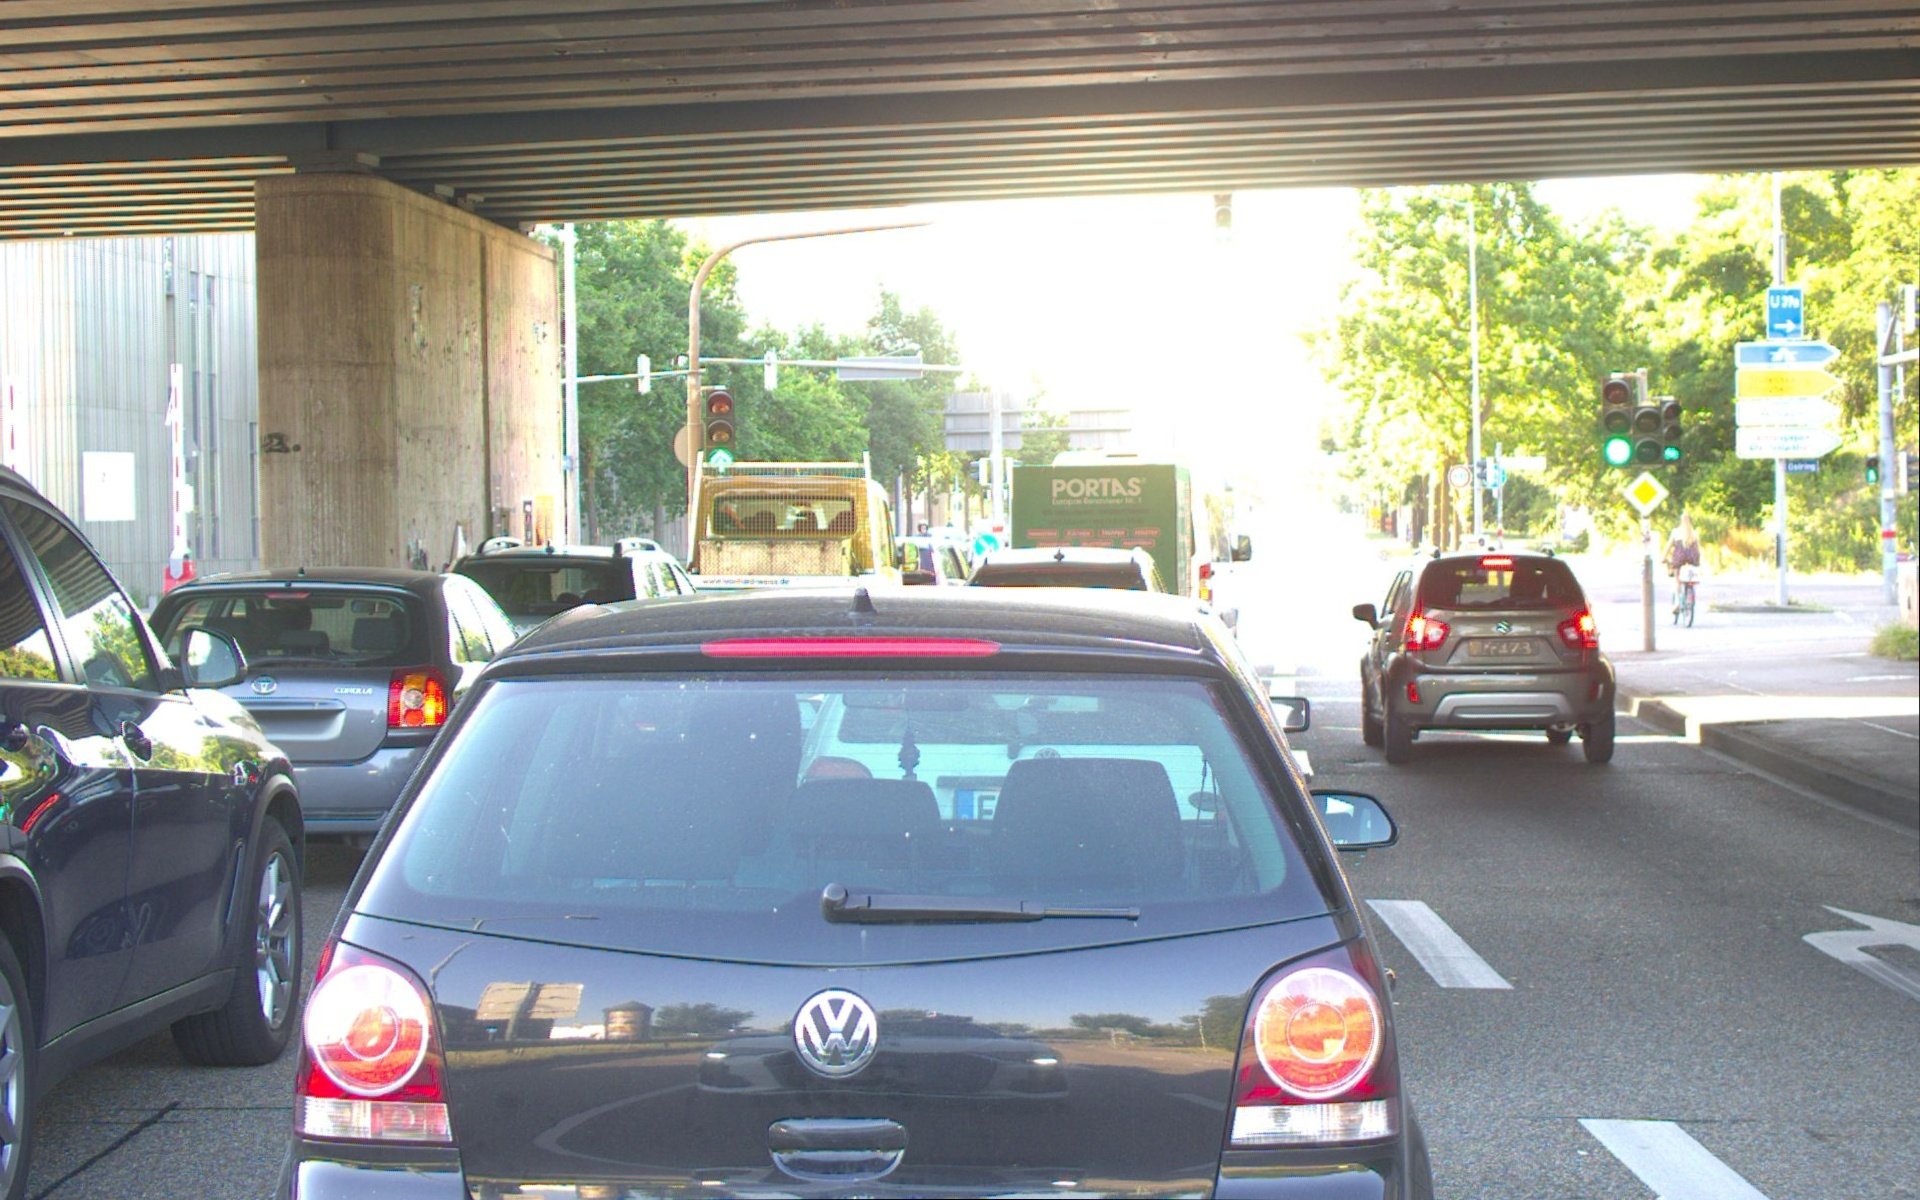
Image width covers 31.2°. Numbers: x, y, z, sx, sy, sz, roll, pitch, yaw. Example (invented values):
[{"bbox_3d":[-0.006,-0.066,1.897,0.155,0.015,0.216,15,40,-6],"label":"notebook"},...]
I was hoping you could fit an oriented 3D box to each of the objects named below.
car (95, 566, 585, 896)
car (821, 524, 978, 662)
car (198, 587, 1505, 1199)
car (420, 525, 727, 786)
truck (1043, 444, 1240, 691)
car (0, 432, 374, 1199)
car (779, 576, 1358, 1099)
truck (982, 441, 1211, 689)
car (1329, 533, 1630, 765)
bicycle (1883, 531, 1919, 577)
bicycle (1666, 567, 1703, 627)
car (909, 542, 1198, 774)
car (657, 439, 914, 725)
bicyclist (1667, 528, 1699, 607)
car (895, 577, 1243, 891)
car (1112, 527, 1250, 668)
[{"bbox_3d":[-2.880,0.547,16.689,1.616,1.405,3.683,1,1,1],"label":"car"},{"bbox_3d":[-0.740,-0.104,44.313,1.617,1.673,3.682,1,1,5],"label":"car"},{"bbox_3d":[-0.035,0.701,6.100,1.617,1.405,3.682,1,1,4],"label":"car"},{"bbox_3d":[-2.640,0.342,24.200,1.616,1.673,3.683,1,1,2],"label":"car"},{"bbox_3d":[2.123,-0.371,39.295,1.996,2.659,3.999,1,1,6],"label":"truck"},{"bbox_3d":[-2.904,0.495,8.358,1.994,1.728,4.532,1,1,2],"label":"car"},{"bbox_3d":[0.326,0.642,11.531,1.578,1.408,4.062,1,1,1],"label":"car"},{"bbox_3d":[1.427,-0.351,34.469,1.996,2.307,3.999,1,1,6],"label":"truck"},{"bbox_3d":[3.915,0.328,26.500,1.737,1.625,4.062,1,1,1],"label":"car"},{"bbox_3d":[21.643,-1.035,77.211,1.664,0.988,0.577,-1,4,23],"label":"bicycle"},{"bbox_3d":[11.379,-0.053,53.981,0.437,0.911,1.026,-2,0,6],"label":"bicycle"},{"bbox_3d":[0.767,0.375,25.365,1.796,1.553,3.999,1,1,6],"label":"car"},{"bbox_3d":[-1.627,-0.189,33.841,2.137,2.567,5.087,1,1,1],"label":"car"},{"bbox_3d":[11.362,-0.511,54.026,0.427,1.229,0.460,-1,0,6],"label":"bicyclist"},{"bbox_3d":[0.528,0.604,17.827,1.578,1.408,4.062,1,1,1],"label":"car"},{"bbox_3d":[2.822,-0.045,43.339,1.617,1.673,3.682,1,1,5],"label":"car"}]
